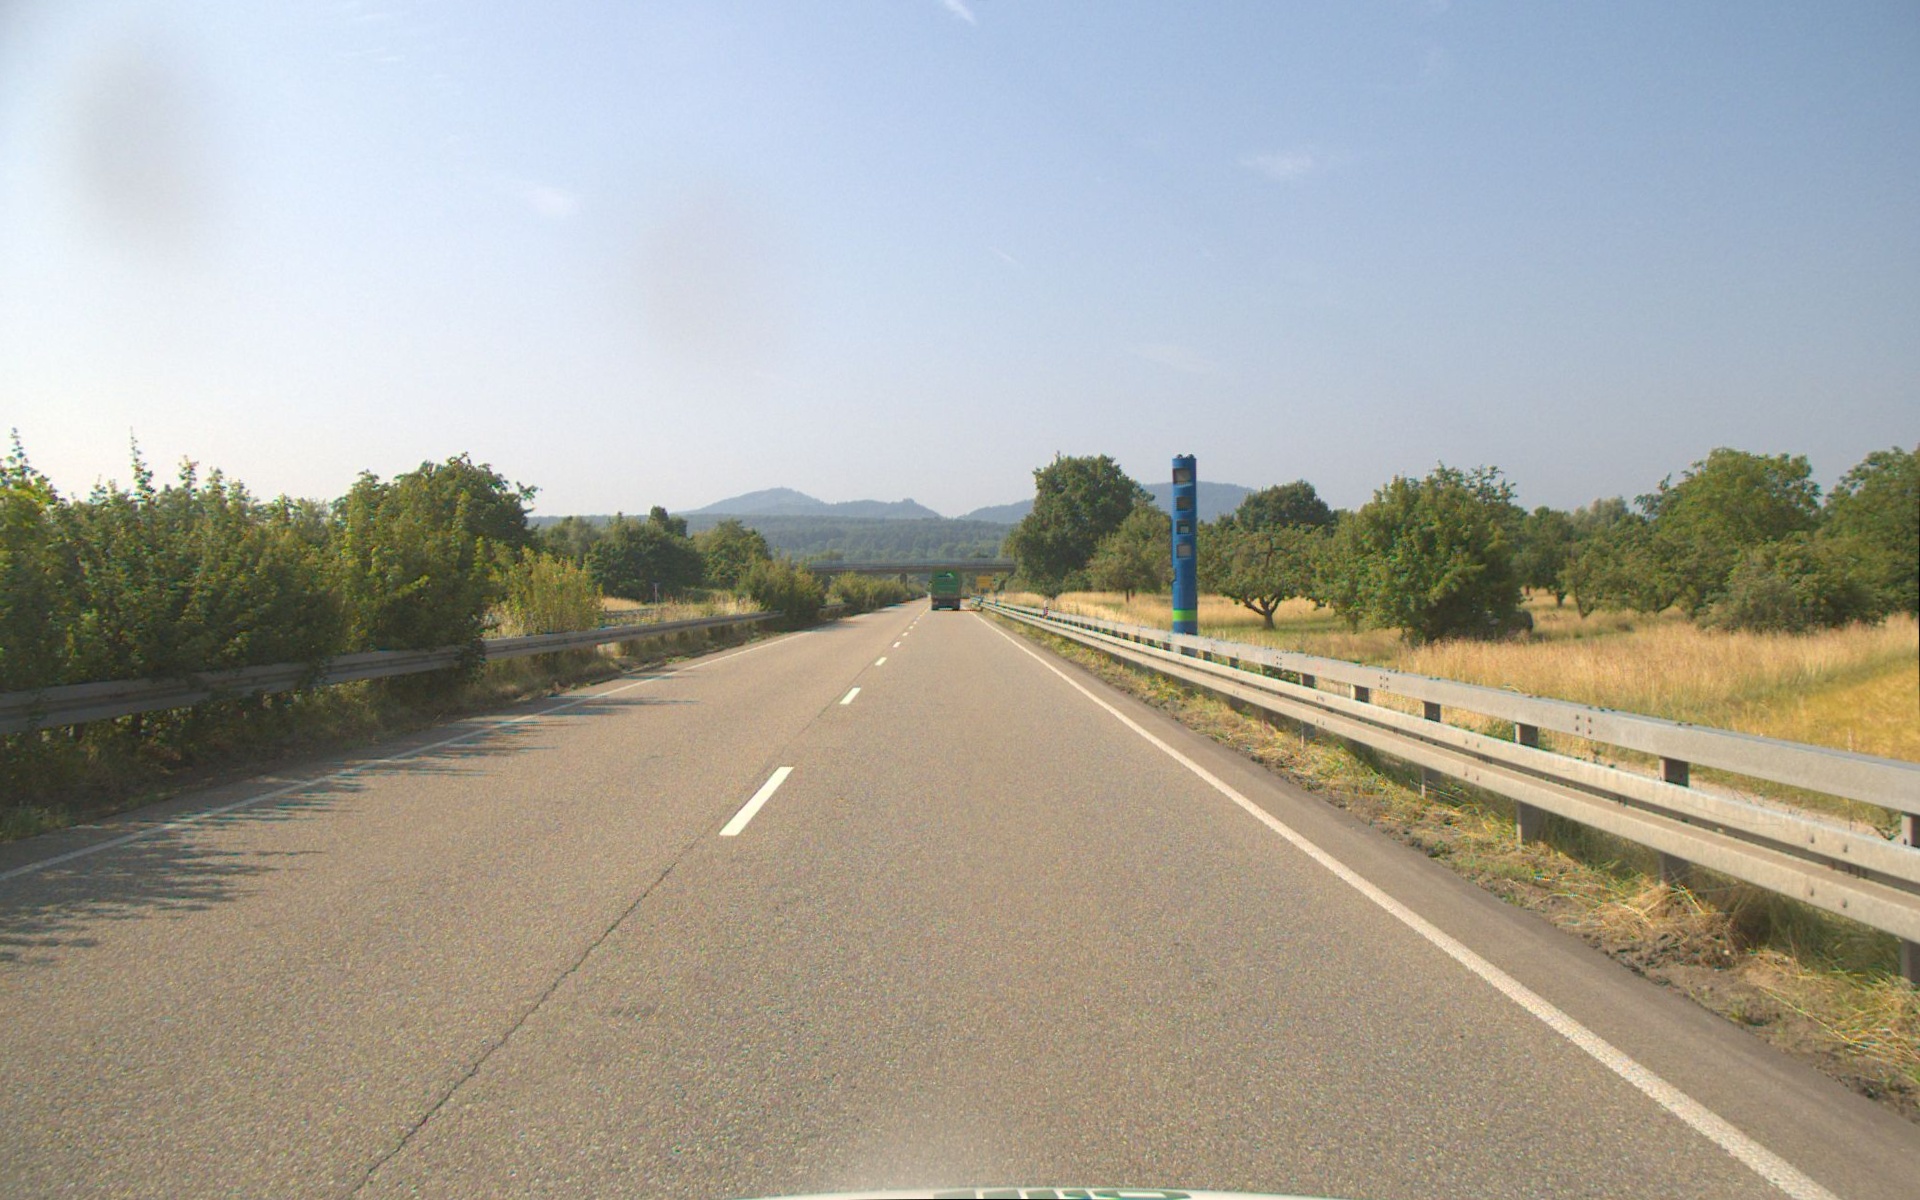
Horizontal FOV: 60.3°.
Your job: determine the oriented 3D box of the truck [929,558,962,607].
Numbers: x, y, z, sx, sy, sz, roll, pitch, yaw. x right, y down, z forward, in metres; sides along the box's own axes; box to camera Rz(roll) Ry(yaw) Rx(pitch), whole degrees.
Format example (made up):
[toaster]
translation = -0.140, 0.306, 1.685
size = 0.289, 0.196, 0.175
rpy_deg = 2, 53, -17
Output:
[truck]
translation = -1.214, -1.609, 143.494
size = 2.666, 4.034, 10.416
rpy_deg = 1, 1, 0
